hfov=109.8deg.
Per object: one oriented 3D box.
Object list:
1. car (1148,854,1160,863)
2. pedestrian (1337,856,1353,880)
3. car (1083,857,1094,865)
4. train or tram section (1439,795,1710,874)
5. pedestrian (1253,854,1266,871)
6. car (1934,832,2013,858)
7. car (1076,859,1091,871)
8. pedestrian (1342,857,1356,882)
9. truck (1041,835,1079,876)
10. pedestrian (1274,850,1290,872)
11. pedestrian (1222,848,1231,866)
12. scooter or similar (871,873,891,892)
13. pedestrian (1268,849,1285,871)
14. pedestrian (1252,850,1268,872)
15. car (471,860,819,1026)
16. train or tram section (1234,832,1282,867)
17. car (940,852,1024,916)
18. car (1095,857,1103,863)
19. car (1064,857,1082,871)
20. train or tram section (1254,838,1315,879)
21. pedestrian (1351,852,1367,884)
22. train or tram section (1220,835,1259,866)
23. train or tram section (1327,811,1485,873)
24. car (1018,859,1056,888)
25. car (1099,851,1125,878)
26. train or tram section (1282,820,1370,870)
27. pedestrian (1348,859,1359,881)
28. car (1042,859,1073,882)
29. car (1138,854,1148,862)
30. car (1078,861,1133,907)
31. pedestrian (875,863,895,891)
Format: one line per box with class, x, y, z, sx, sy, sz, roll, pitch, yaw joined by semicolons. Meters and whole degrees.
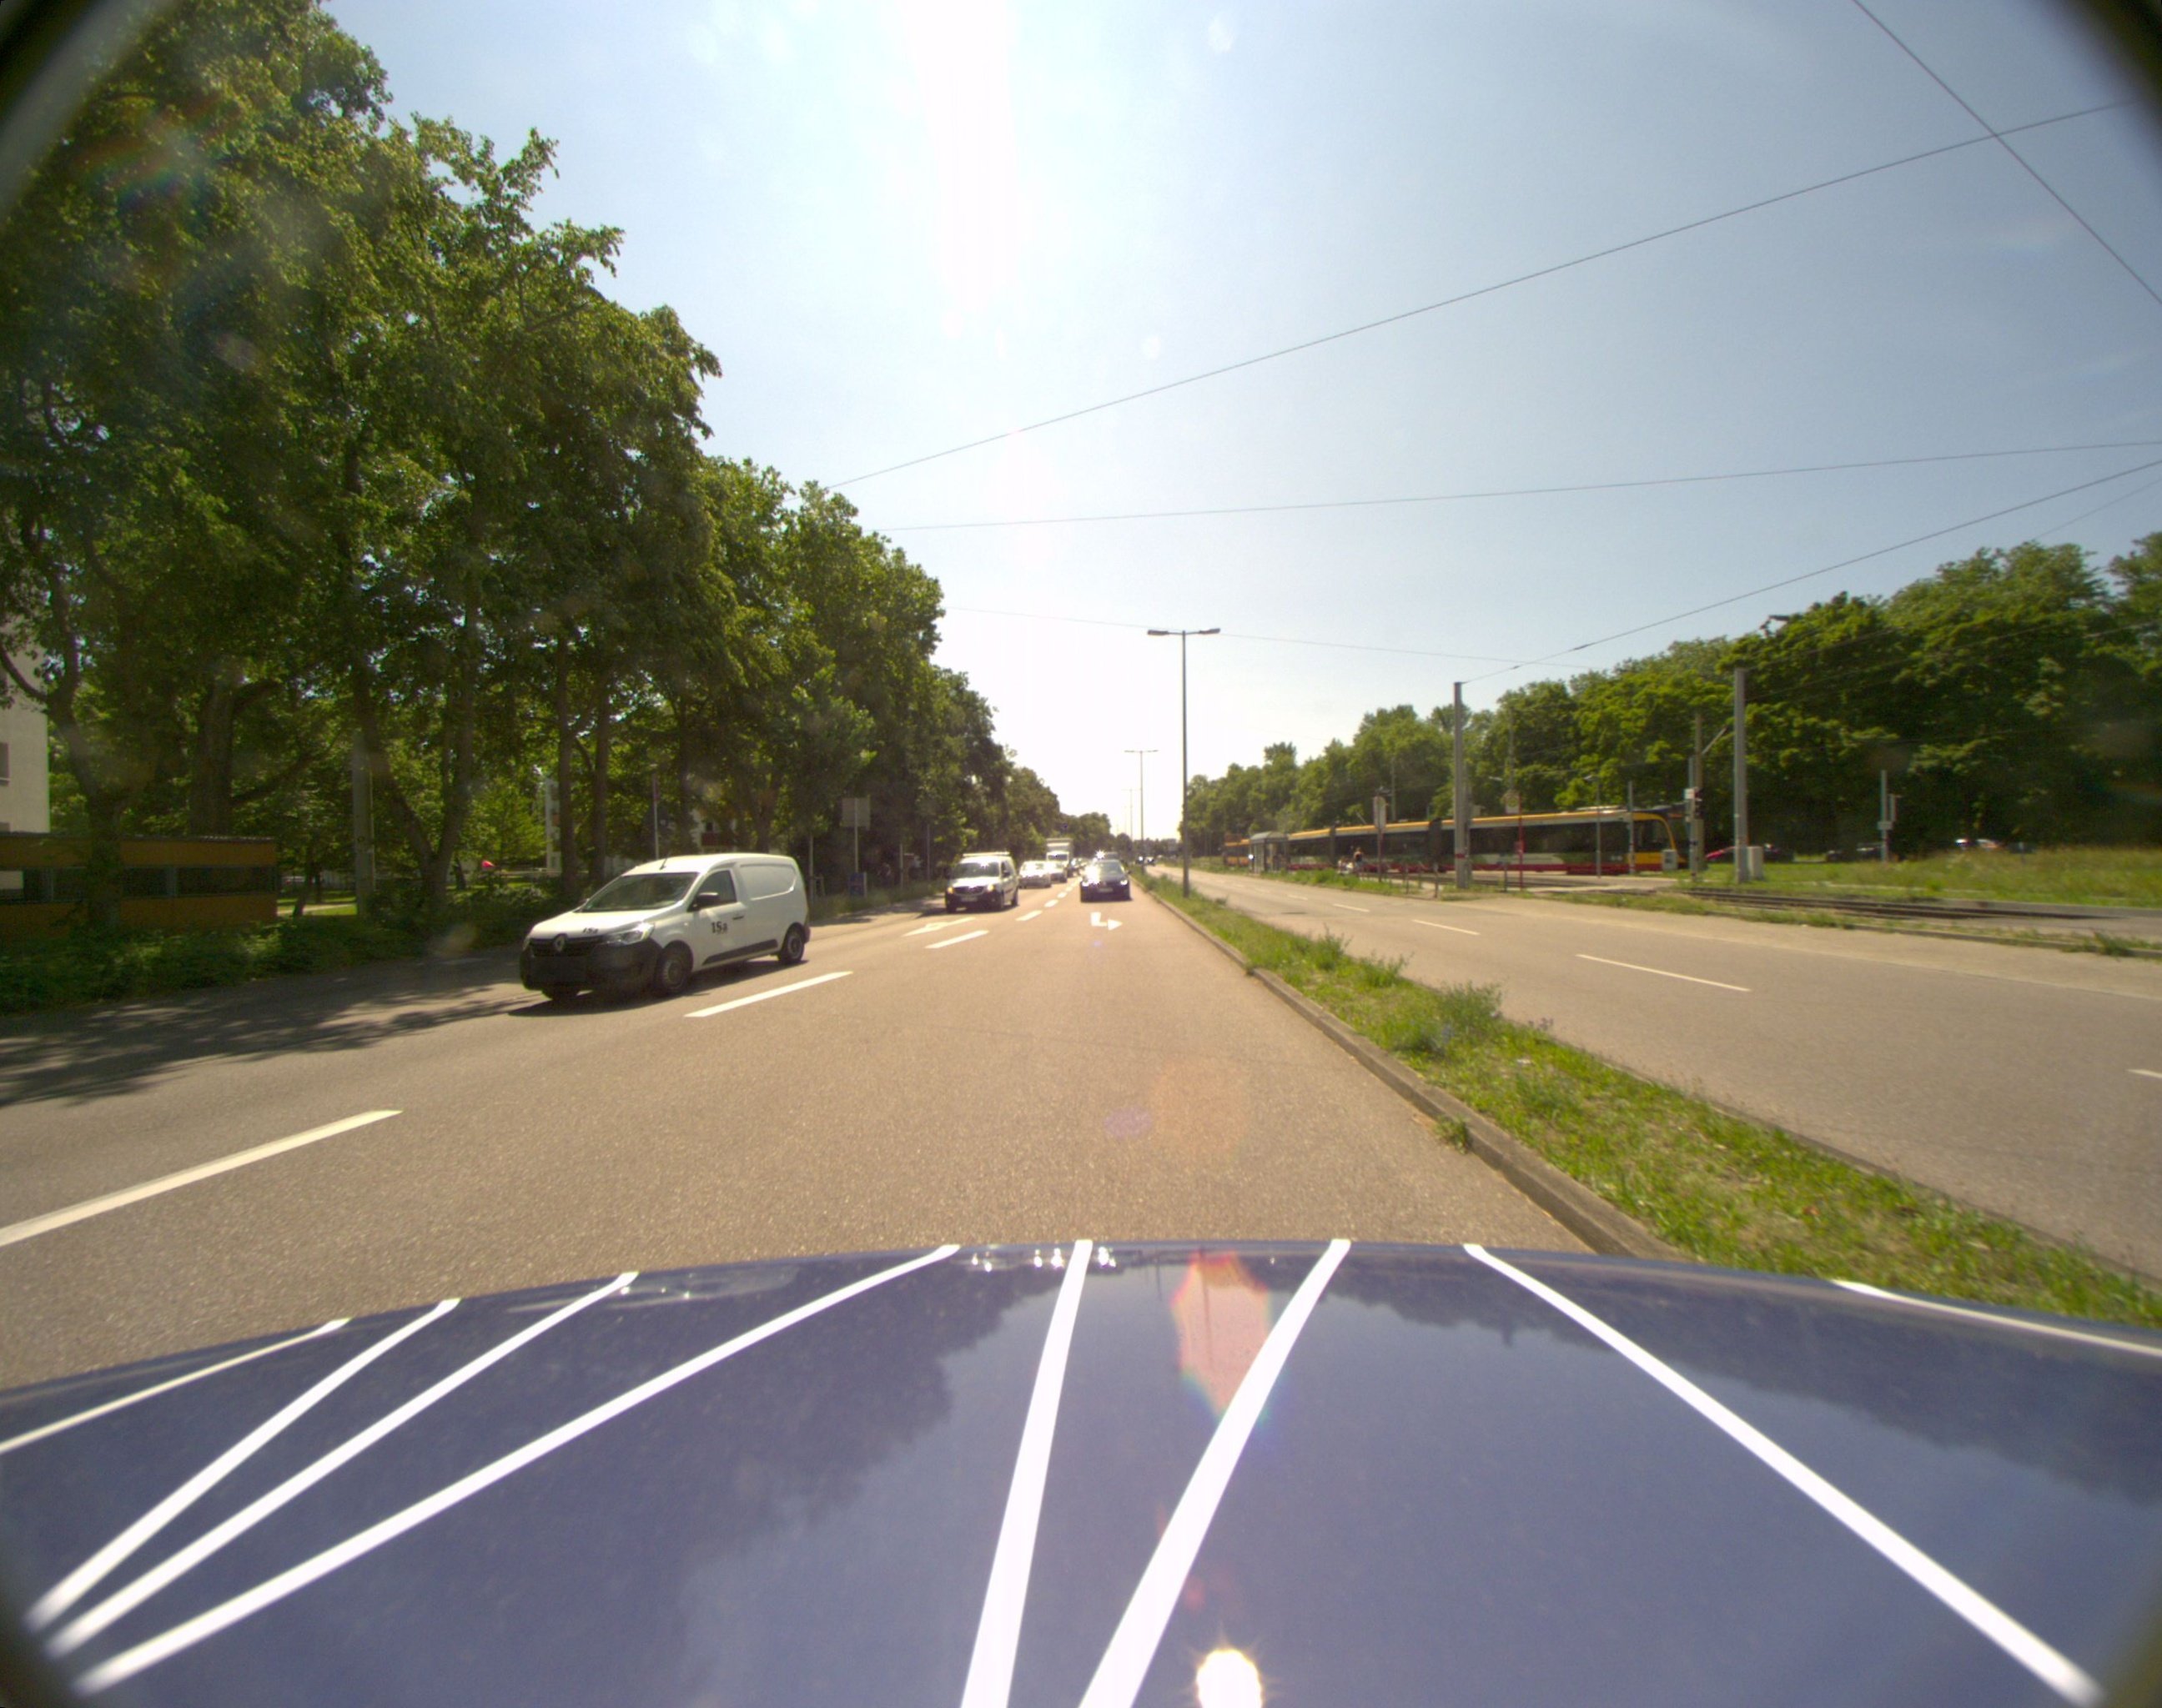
car;12.580;0.809;130.934;1.774;1.496;3.720;-2;0;0
pedestrian;13.425;0.729;38.589;0.582;1.182;0.536;-3;0;0
car;1.369;1.229;141.277;1.745;1.382;3.889;-2;0;5
train or tram section;25.926;-0.786;41.259;3.057;3.603;12.428;-3;0;-26
pedestrian;13.170;0.627;56.103;0.703;1.276;0.840;-3;0;0
car;59.655;-0.578;50.841;1.389;1.586;3.069;-3;0;-11
car;0.321;1.425;99.262;1.618;1.373;4.115;-3;0;3
pedestrian;13.450;0.773;38.113;0.495;1.182;0.400;-3;0;0
truck;-1.704;0.101;64.986;2.489;3.276;6.606;-2;0;4
pedestrian;14.029;0.506;53.035;0.836;1.499;0.879;-3;0;0
pedestrian;14.687;0.321;76.803;0.633;1.780;0.776;-3;0;0
scooter or similar;-10.072;1.430;38.323;0.710;0.888;0.763;-3;0;3
pedestrian;13.875;0.440;53.974;0.933;1.537;0.985;-3;0;0
pedestrian;12.970;0.498;55.001;0.876;1.537;1.026;-3;0;0
car;-5.624;1.025;10.614;1.712;1.737;4.430;-3;0;9
train or tram section;21.030;-0.483;91.046;3.051;3.719;12.597;-3;0;2
car;-3.178;0.913;25.506;1.809;1.845;5.083;-3;0;3
car;4.422;1.514;185.827;1.745;1.382;3.889;-2;0;6
car;-0.848;1.048;82.585;1.746;1.382;3.888;-2;0;3
train or tram section;20.696;0.450;78.160;3.051;3.745;13.263;-3;0;2
pedestrian;13.615;0.674;37.236;0.536;1.556;0.582;-3;0;0
train or tram section;21.368;-0.447;103.104;2.957;3.832;11.542;-3;0;2
train or tram section;21.785;-0.644;52.283;3.055;3.603;12.438;-3;0;-14
car;-2.427;1.065;42.446;1.626;1.432;3.499;-3;0;4
car;2.260;0.723;55.486;1.746;1.840;3.888;-2;0;3
train or tram section;20.446;-0.662;64.610;3.051;3.603;13.898;-3;0;1
pedestrian;13.533;0.802;37.735;0.383;1.052;0.377;-3;0;0
car;-1.526;1.093;50.595;1.618;1.373;4.115;-3;0;3
car;12.886;0.789;157.828;1.773;1.496;3.720;-2;0;1
car;0.905;1.021;26.952;1.746;1.382;3.888;-3;0;3
pedestrian;-10.046;1.180;38.928;0.710;1.390;0.763;-3;0;3
